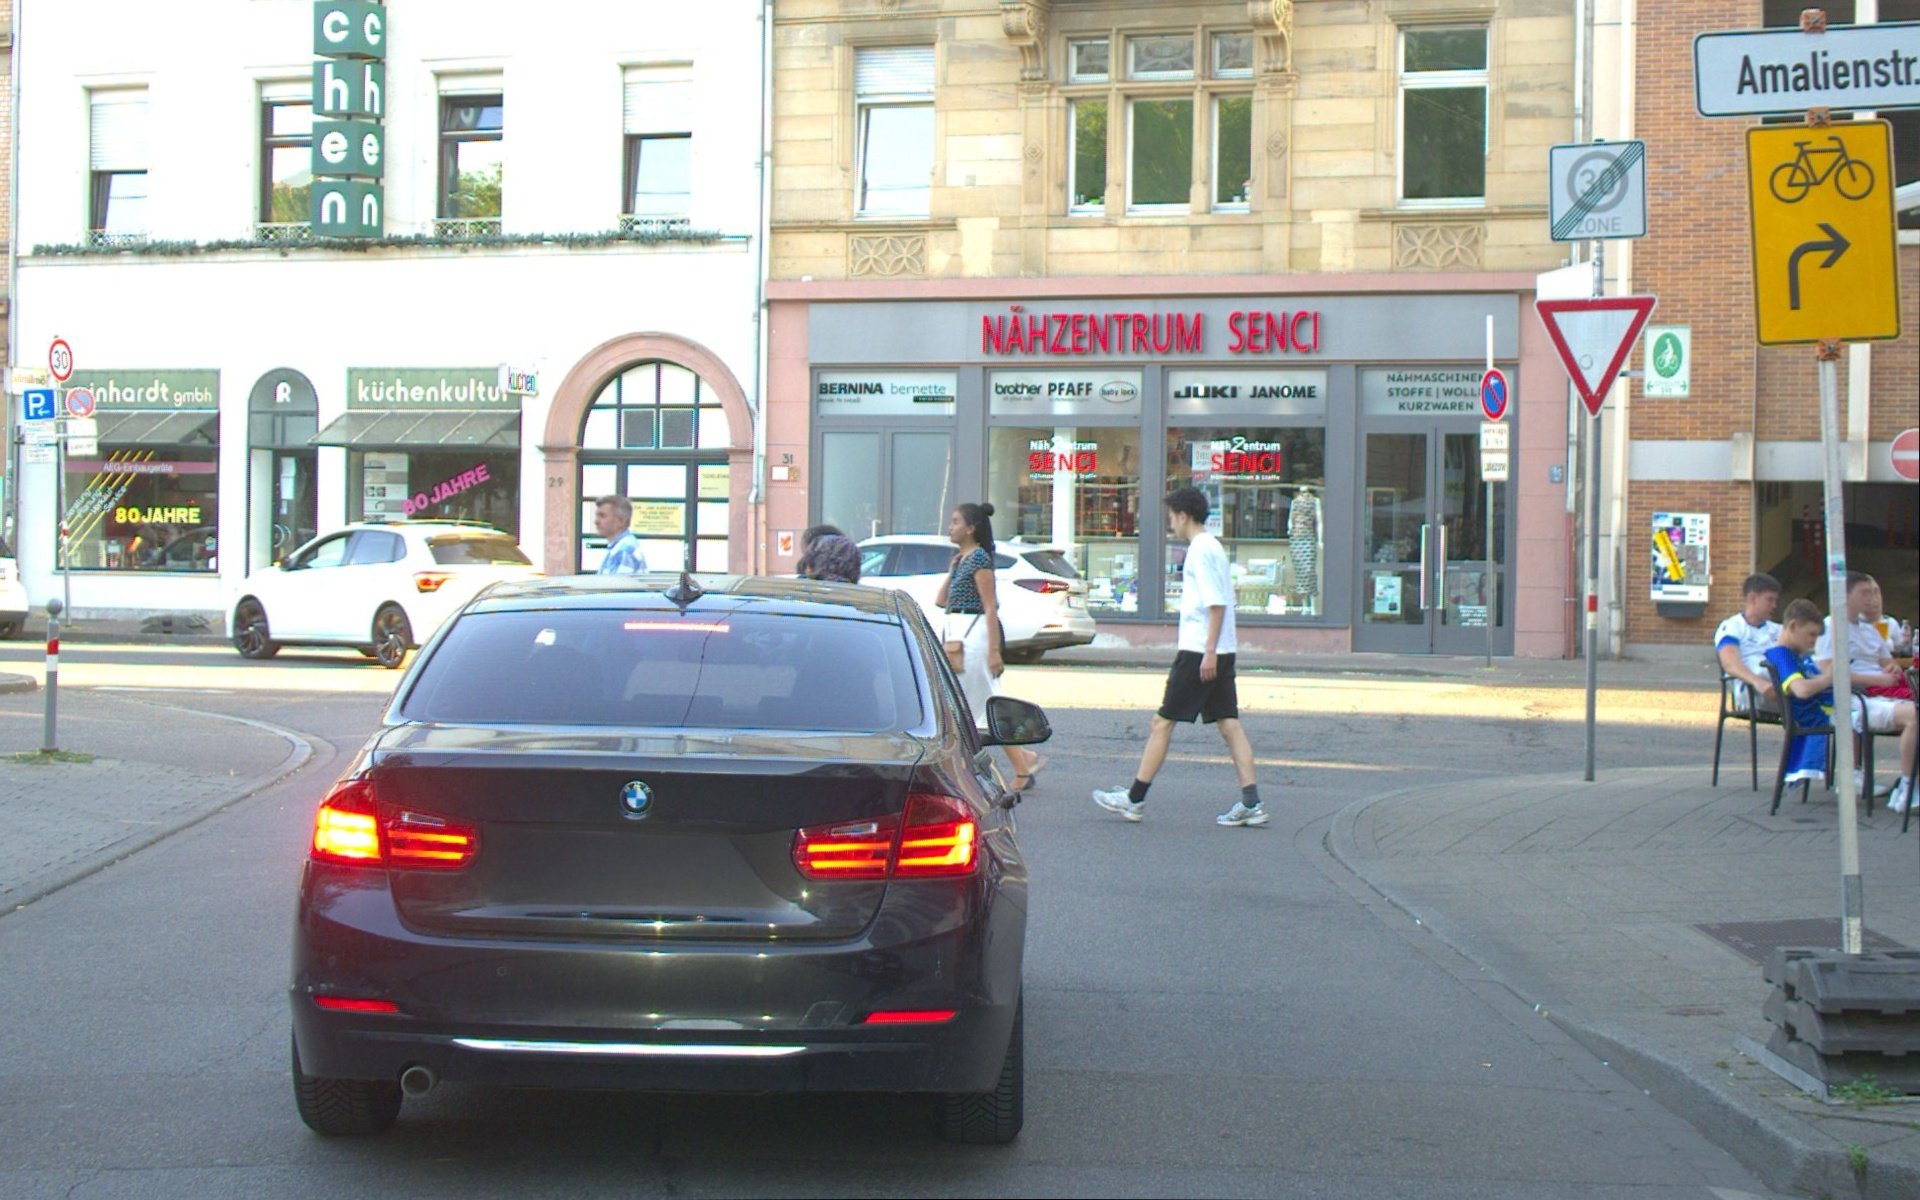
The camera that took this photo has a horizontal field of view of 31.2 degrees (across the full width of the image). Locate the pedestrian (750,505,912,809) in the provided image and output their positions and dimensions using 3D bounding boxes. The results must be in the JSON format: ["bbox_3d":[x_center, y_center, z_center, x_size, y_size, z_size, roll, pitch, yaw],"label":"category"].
[{"bbox_3d":[-0.711,0.300,18.753,0.724,1.603,0.650,2,1,-11],"label":"pedestrian"}]

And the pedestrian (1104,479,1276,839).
[{"bbox_3d":[1.233,0.302,18.393,0.699,1.871,0.677,2,1,21],"label":"pedestrian"}]

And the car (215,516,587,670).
[{"bbox_3d":[-5.803,-0.113,35.403,1.878,1.468,3.998,-1,2,-43],"label":"car"}]

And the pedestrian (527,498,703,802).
[{"bbox_3d":[-2.032,0.282,20.299,0.895,1.719,0.607,2,3,4],"label":"pedestrian"}]

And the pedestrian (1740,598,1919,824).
[{"bbox_3d":[4.599,0.571,18.053,0.890,1.146,0.619,1,1,5],"label":"pedestrian"}]

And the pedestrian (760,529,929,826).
[{"bbox_3d":[-0.614,0.395,18.080,0.735,1.508,0.650,2,1,-11],"label":"pedestrian"}]

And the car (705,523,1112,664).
[{"bbox_3d":[-0.597,-0.089,40.081,4.356,1.557,1.866,1,0,20],"label":"car"}]

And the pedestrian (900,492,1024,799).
[{"bbox_3d":[0.017,0.252,19.900,0.667,1.740,0.606,1,1,4],"label":"pedestrian"}]

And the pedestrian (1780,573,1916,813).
[{"bbox_3d":[4.861,0.497,18.851,0.617,1.279,0.659,1,1,6],"label":"pedestrian"}]

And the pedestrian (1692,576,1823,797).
[{"bbox_3d":[4.647,0.491,20.060,0.617,1.250,0.735,1,1,4],"label":"pedestrian"}]

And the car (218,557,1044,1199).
[{"bbox_3d":[-0.797,0.617,9.913,1.765,1.370,4.791,2,1,-2],"label":"car"}]

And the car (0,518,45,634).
[{"bbox_3d":[-14.340,-0.336,45.532,3.991,1.505,1.798,1,0,20],"label":"car"}]

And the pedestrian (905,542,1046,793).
[{"bbox_3d":[0.101,0.391,20.582,0.815,1.469,0.606,1,1,2],"label":"pedestrian"}]
